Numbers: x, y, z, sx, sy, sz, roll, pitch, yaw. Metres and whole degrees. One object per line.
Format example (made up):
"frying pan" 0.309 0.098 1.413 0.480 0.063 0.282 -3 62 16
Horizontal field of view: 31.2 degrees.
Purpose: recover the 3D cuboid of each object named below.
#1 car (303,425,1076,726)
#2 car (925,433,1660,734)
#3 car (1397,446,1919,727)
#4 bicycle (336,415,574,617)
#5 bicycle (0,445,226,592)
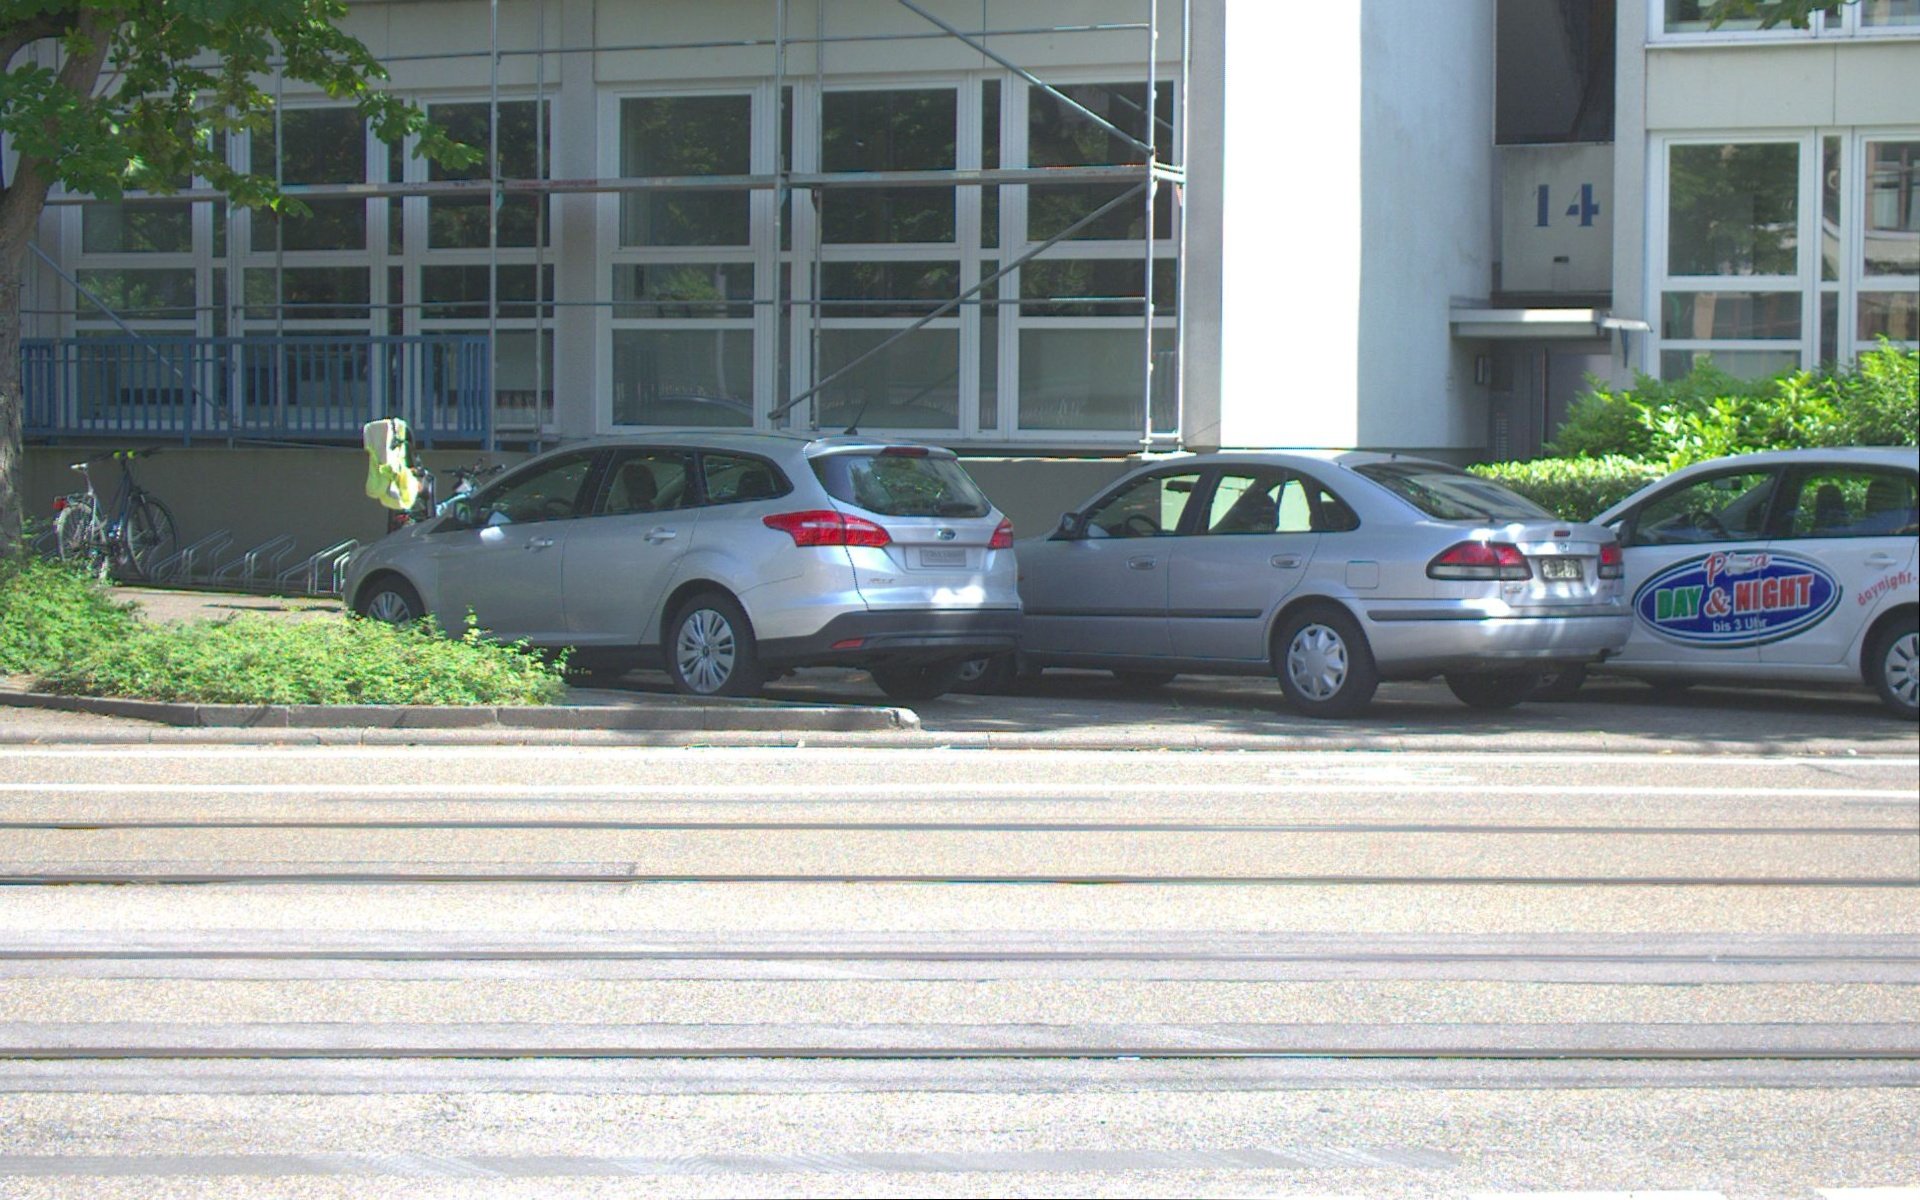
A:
"car" -1.626 -0.224 19.435 4.432 1.481 1.780 3 4 42
"car" 1.778 -0.171 19.297 3.943 1.481 1.609 3 4 44
"car" 4.584 -0.130 19.658 3.942 1.481 1.609 2 3 43
"bicycle" -3.775 -0.652 25.882 0.662 1.448 2.087 2 3 28
"bicycle" -6.549 -0.656 26.681 0.741 1.082 2.202 1 3 15
